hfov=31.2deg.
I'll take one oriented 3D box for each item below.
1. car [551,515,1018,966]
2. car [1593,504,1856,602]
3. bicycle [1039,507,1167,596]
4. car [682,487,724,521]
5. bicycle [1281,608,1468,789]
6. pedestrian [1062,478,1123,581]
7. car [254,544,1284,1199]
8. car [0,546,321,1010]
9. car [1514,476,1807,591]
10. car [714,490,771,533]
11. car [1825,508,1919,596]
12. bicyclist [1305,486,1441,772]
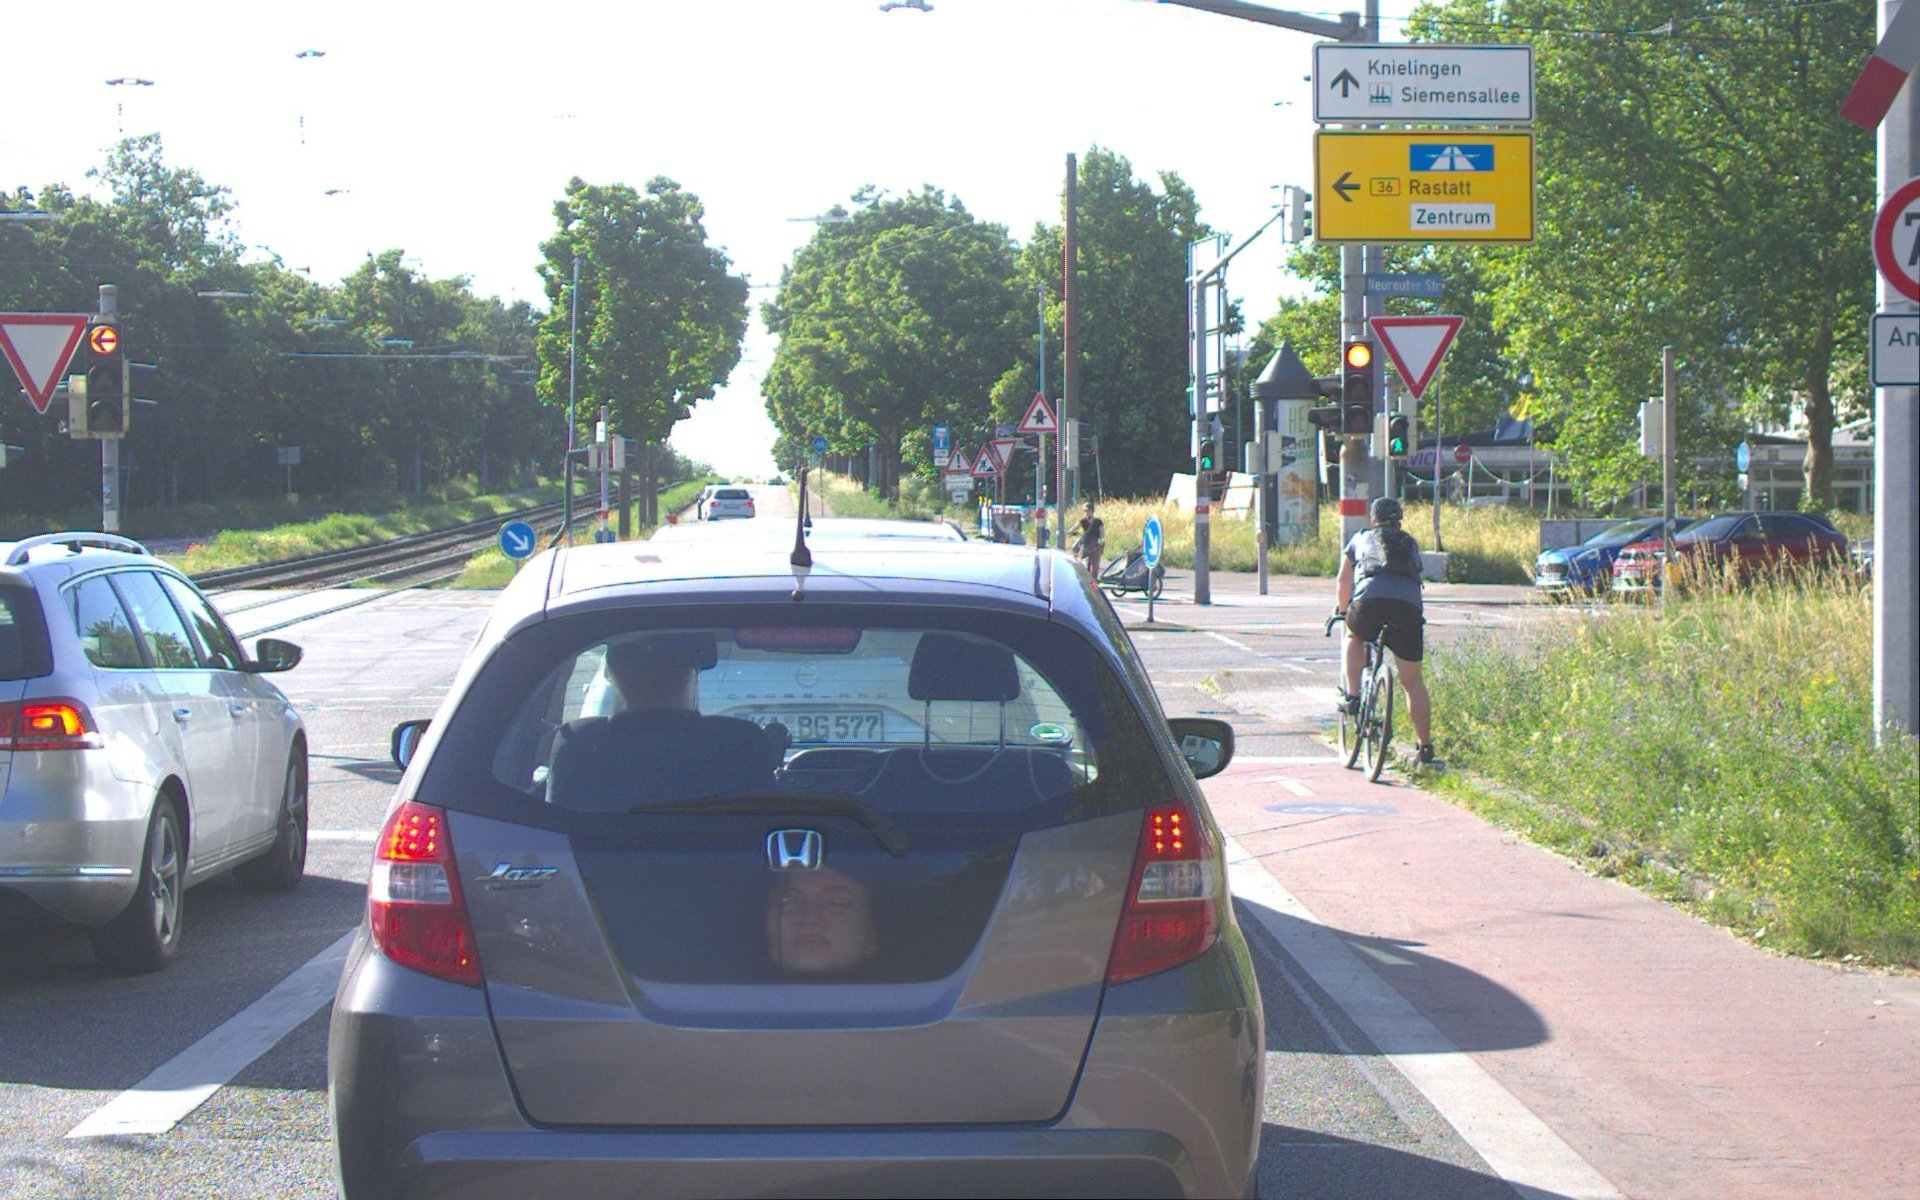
[{"bbox_3d":[-0.651,0.446,14.011,1.611,1.557,4.288,0,1,-1],"label":"car"},{"bbox_3d":[12.447,-0.780,55.984,3.986,1.525,1.606,-1,1,-23],"label":"car"},{"bbox_3d":[2.610,-0.892,62.128,0.820,1.569,3.209,0,1,32],"label":"bicycle"},{"bbox_3d":[-10.590,-3.941,141.517,1.522,1.374,3.677,-1,1,-7],"label":"car"},{"bbox_3d":[2.526,0.572,21.265,0.722,0.985,2.876,1,1,-1],"label":"bicycle"},{"bbox_3d":[2.373,-1.266,61.676,0.789,1.830,0.853,0,1,28],"label":"pedestrian"},{"bbox_3d":[-0.397,0.617,7.377,1.668,1.457,3.587,0,1,-3],"label":"car"},{"bbox_3d":[-3.534,0.525,12.794,1.619,1.452,4.085,1,1,-1],"label":"car"},{"bbox_3d":[12.275,-1.149,60.267,4.686,1.873,2.001,1,1,-23],"label":"car"},{"bbox_3d":[-7.696,-3.119,121.369,1.709,1.473,4.001,-1,1,-8],"label":"car"},{"bbox_3d":[17.866,-0.905,63.051,3.742,1.564,1.491,-1,1,-23],"label":"car"},{"bbox_3d":[2.537,0.169,21.179,0.666,1.710,0.948,1,0,-1],"label":"bicyclist"}]
